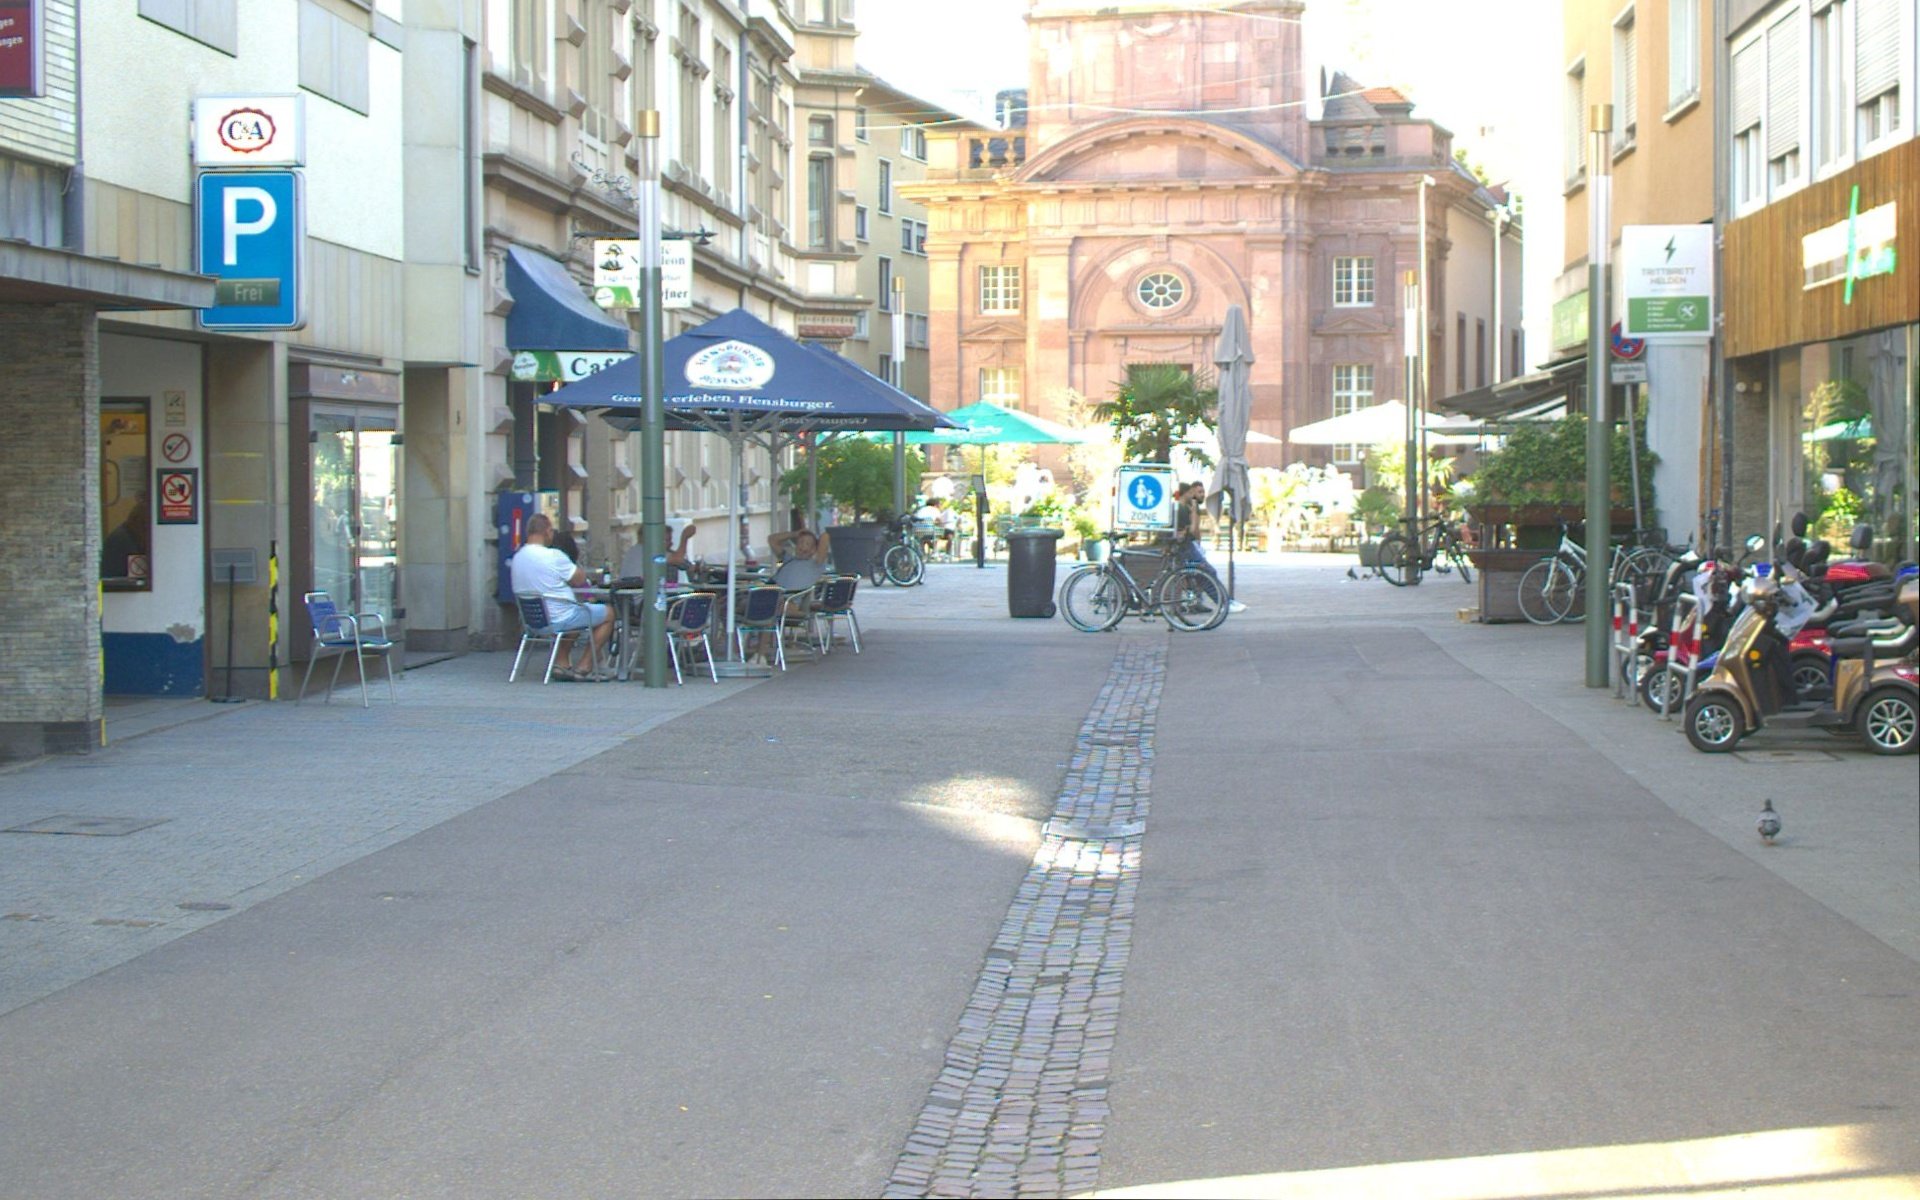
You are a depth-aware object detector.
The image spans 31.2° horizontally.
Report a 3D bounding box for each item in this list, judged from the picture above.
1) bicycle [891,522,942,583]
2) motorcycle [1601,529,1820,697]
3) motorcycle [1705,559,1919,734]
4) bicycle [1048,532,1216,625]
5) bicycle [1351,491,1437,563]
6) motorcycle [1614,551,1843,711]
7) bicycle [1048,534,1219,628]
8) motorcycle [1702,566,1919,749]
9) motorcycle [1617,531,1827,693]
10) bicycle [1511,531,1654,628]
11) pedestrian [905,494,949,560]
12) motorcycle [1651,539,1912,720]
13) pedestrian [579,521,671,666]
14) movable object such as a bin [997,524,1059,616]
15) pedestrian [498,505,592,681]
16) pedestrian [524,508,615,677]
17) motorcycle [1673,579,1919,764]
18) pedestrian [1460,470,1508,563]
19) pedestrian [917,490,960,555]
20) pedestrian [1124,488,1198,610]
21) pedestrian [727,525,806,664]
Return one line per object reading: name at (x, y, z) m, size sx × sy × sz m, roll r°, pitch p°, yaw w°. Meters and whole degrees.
bicycle at (-0.619, -0.694, 49.625) m, size 0.457 × 0.847 × 2.146 m, roll 0°, pitch 2°, yaw 7°
motorcycle at (5.355, 0.087, 24.542) m, size 1.485 × 1.177 × 0.412 m, roll 0°, pitch 2°, yaw 19°
motorcycle at (5.468, 0.285, 21.599) m, size 1.485 × 1.072 × 0.412 m, roll 0°, pitch 2°, yaw 22°
bicycle at (1.871, -0.235, 37.498) m, size 1.824 × 1.001 × 0.381 m, roll 0°, pitch 2°, yaw 1°
bicycle at (7.895, -1.337, 62.532) m, size 1.586 × 1.303 × 0.366 m, roll -1°, pitch 2°, yaw -25°
motorcycle at (5.290, 0.206, 23.670) m, size 1.485 × 1.072 × 0.412 m, roll 0°, pitch 2°, yaw 22°
bicycle at (1.868, -0.211, 37.098) m, size 1.824 × 1.001 × 0.381 m, roll 0°, pitch 2°, yaw 1°
motorcycle at (5.245, 0.336, 20.582) m, size 1.518 × 1.072 × 0.412 m, roll 0°, pitch 2°, yaw 22°
motorcycle at (5.659, 0.081, 25.542) m, size 1.485 × 1.177 × 0.412 m, roll 0°, pitch 2°, yaw 19°
bicycle at (6.584, -0.220, 36.362) m, size 1.464 × 1.001 × 0.573 m, roll 0°, pitch 2°, yaw 11°
pedestrian at (-0.613, -1.366, 63.874) m, size 0.701 × 1.213 × 0.719 m, roll 0°, pitch 2°, yaw 10°
motorcycle at (5.454, 0.187, 22.837) m, size 1.626 × 1.171 × 0.480 m, roll 0°, pitch 2°, yaw 22°
pedestrian at (-2.902, -0.067, 29.863) m, size 0.765 × 1.229 × 0.831 m, roll 0°, pitch 2°, yaw -4°
movable object such as a bin at (0.800, -0.352, 40.489) m, size 0.721 × 1.071 × 0.374 m, roll 0°, pitch 2°, yaw 3°
pedestrian at (-3.283, -0.068, 27.164) m, size 0.708 × 1.363 × 0.720 m, roll 0°, pitch 2°, yaw -8°
pedestrian at (-3.211, -0.069, 28.246) m, size 0.717 × 1.363 × 0.710 m, roll 0°, pitch 2°, yaw -8°
motorcycle at (4.946, 0.404, 19.887) m, size 1.566 × 1.038 × 0.372 m, roll 0°, pitch 2°, yaw 22°
pedestrian at (8.784, -1.405, 57.588) m, size 0.784 × 1.550 × 0.535 m, roll 0°, pitch 2°, yaw 9°
pedestrian at (-0.414, -1.475, 65.292) m, size 0.701 × 1.213 × 0.719 m, roll 0°, pitch 2°, yaw 10°
pedestrian at (2.436, -0.624, 41.618) m, size 0.884 × 1.459 × 0.731 m, roll 0°, pitch 2°, yaw 4°
pedestrian at (-1.722, -0.054, 30.522) m, size 0.692 × 1.211 × 0.583 m, roll 0°, pitch 2°, yaw -4°
